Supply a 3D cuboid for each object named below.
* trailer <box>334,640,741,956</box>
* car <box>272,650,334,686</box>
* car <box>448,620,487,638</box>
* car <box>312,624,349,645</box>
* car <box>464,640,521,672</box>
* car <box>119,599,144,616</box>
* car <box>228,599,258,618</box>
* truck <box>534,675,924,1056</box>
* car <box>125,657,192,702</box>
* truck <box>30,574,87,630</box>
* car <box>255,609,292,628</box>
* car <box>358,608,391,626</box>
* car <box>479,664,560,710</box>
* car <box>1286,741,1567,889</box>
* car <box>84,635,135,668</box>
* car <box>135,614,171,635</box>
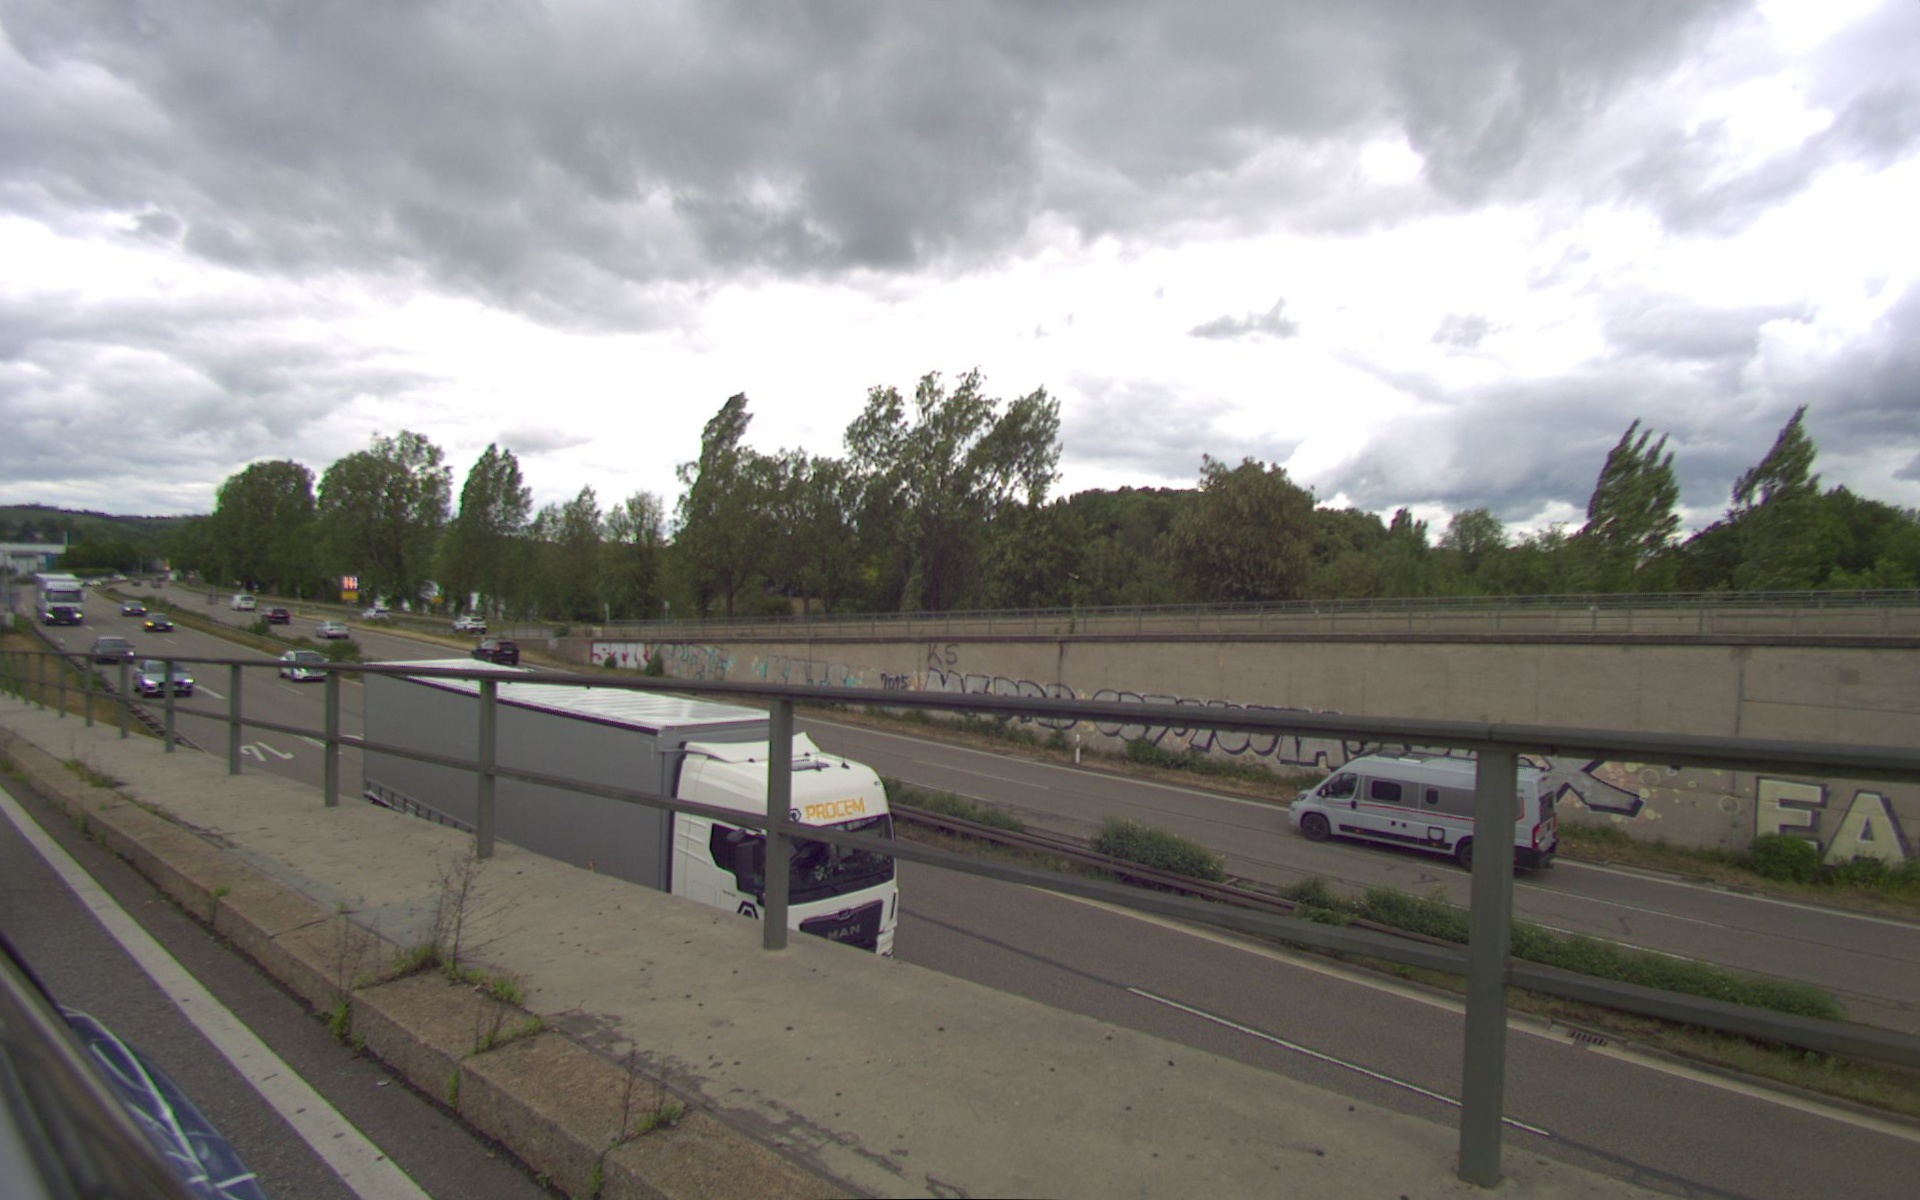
[{"bbox_3d":[-9.728,3.380,21.649,13.152,4.283,2.721,2,0,43],"label":"trailer"},{"bbox_3d":[-35.822,3.660,55.115,4.166,1.619,1.834,2,0,43],"label":"car"},{"bbox_3d":[-45.687,2.706,93.804,4.346,1.588,1.812,-2,-1,43],"label":"car"},{"bbox_3d":[-52.755,2.848,84.812,4.089,1.539,1.709,2,0,45],"label":"car"},{"bbox_3d":[-31.583,3.741,68.326,4.408,1.855,1.911,2,1,41],"label":"car"},{"bbox_3d":[-86.608,0.742,105.783,1.832,1.619,4.171,1,1,-42],"label":"car"},{"bbox_3d":[-90.338,1.052,127.533,5.177,2.082,1.972,2,1,42],"label":"car"},{"bbox_3d":[-3.969,3.654,16.312,6.699,4.283,2.721,2,0,43],"label":"truck"},{"bbox_3d":[-37.302,3.642,47.067,4.166,1.619,1.834,2,1,43],"label":"car"},{"bbox_3d":[-80.928,0.101,90.778,11.131,4.559,3.136,3,1,45],"label":"truck"},{"bbox_3d":[-68.872,1.878,101.485,4.550,1.751,1.896,2,0,40],"label":"car"},{"bbox_3d":[-65.128,1.894,112.612,4.211,1.884,1.973,-2,-1,41],"label":"car"},{"bbox_3d":[-22.065,4.320,50.635,4.422,1.855,1.973,2,0,41],"label":"car"},{"bbox_3d":[11.989,5.390,26.374,6.322,2.553,2.063,2,0,39],"label":"car"},{"bbox_3d":[-50.375,2.999,59.919,4.166,1.619,1.834,2,1,43],"label":"car"},{"bbox_3d":[-68.092,2.054,85.363,4.168,1.619,1.833,2,0,45],"label":"car"}]
